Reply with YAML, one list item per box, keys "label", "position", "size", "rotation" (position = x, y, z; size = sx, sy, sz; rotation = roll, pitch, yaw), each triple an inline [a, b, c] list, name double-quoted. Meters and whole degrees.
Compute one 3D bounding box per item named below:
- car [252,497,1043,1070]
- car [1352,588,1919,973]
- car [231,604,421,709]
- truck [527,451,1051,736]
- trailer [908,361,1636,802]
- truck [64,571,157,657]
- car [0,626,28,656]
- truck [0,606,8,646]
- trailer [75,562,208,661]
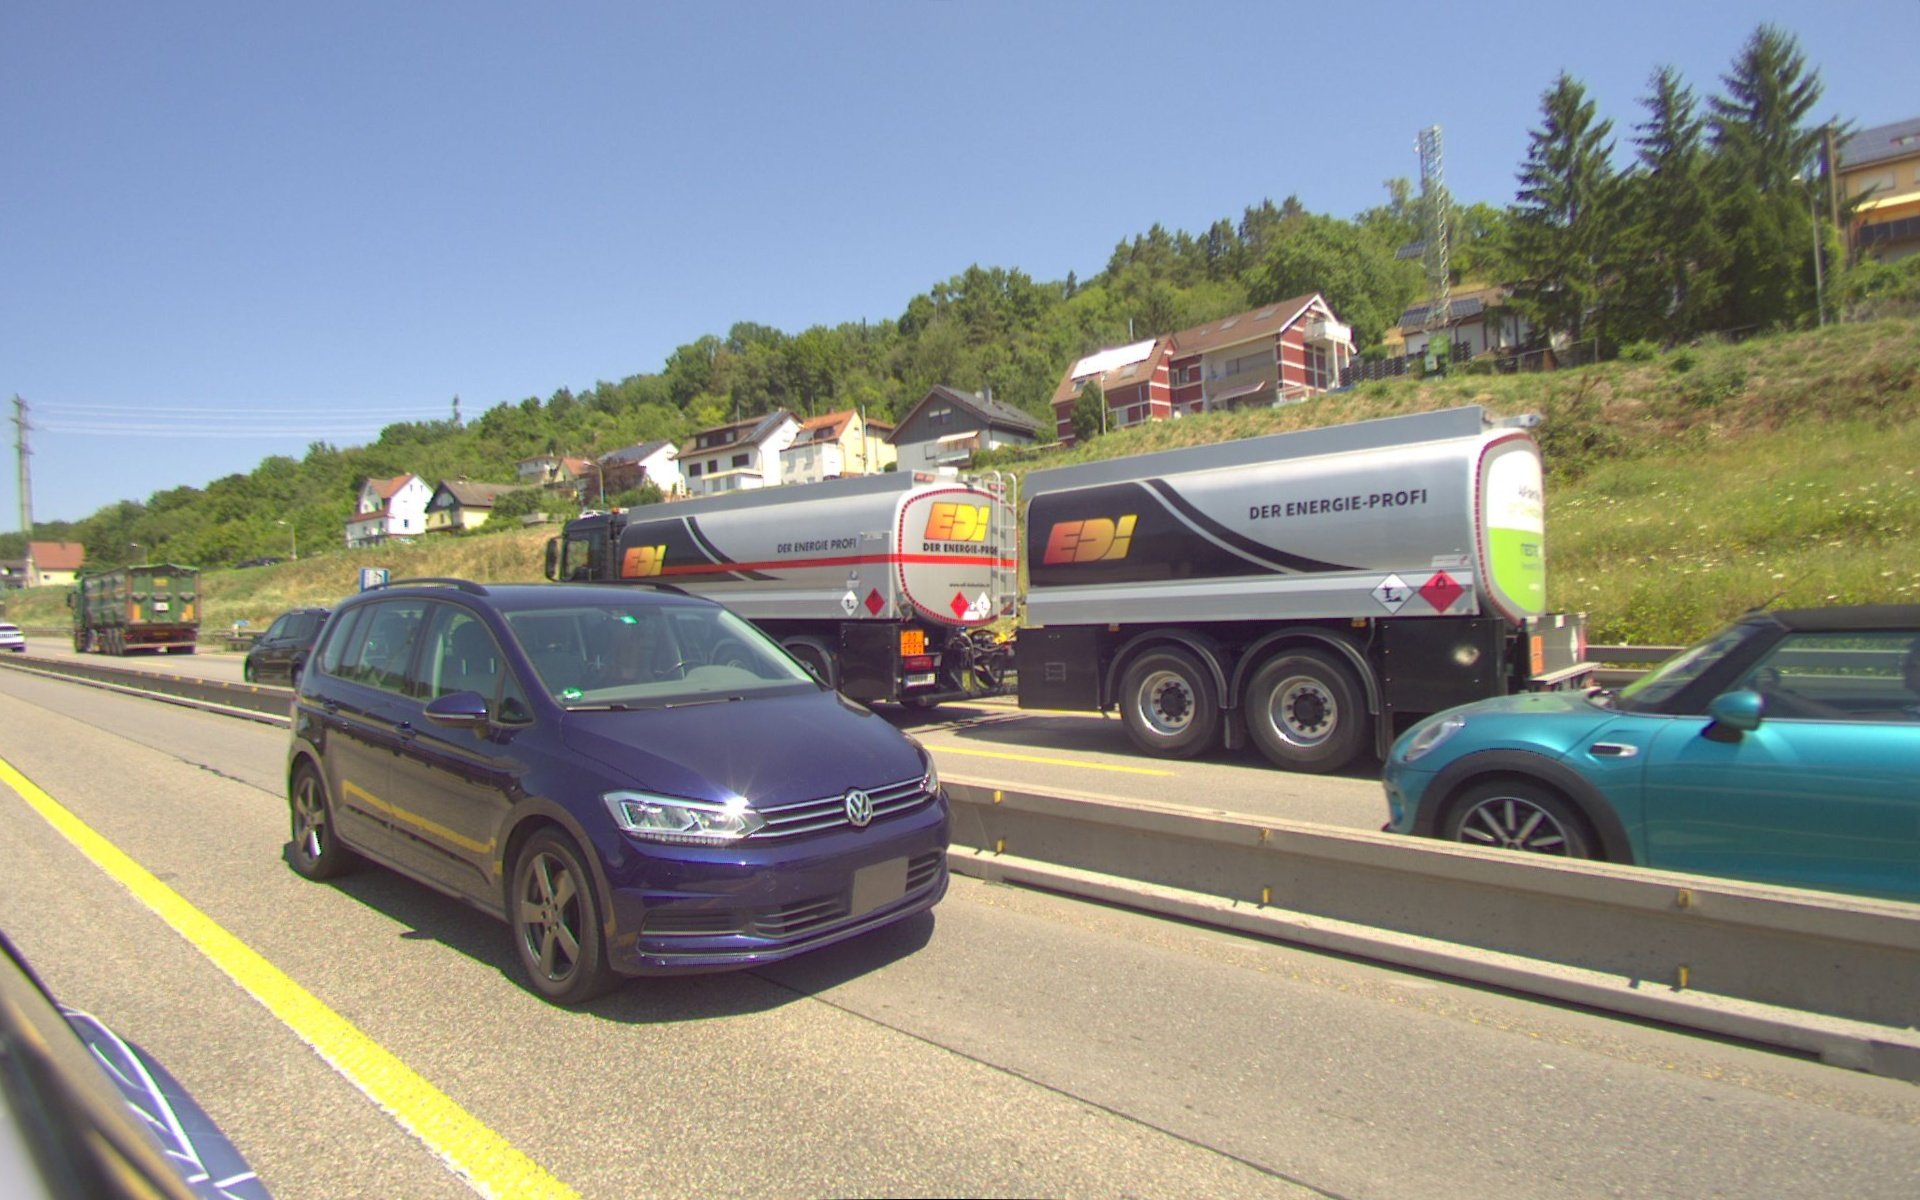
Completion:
- label: "car"
  position: [-1.974, 0.614, 5.274]
  size: [4.650, 1.731, 1.757]
  rotation: [-2, -1, 41]
- label: "car"
  position: [3.967, 0.657, 4.386]
  size: [3.902, 1.405, 1.648]
  rotation: [-2, -1, 41]
- label: "car"
  position: [-11.557, 0.949, 18.323]
  size: [4.497, 1.647, 1.700]
  rotation: [-2, 0, 41]
- label: "truck"
  position: [-3.074, -0.001, 15.204]
  size: [8.955, 3.166, 2.698]
  rotation: [-2, 0, 41]
- label: "trailer"
  position: [2.688, -0.080, 10.033]
  size: [6.367, 3.023, 2.585]
  rotation: [-2, 0, 41]
- label: "truck"
  position: [-41.532, 0.691, 49.462]
  size: [4.176, 3.968, 2.864]
  rotation: [-2, -1, 41]
- label: "car"
  position: [-49.564, 2.119, 52.145]
  size: [4.437, 1.481, 1.755]
  rotation: [-2, -1, 41]
- label: "truck"
  position: [-87.740, 2.359, 90.044]
  size: [15.925, 3.348, 2.734]
  rotation: [-2, -1, 41]
- label: "trailer"
  position: [-36.924, 0.573, 45.449]
  size: [10.521, 3.968, 2.882]
  rotation: [-2, -1, 41]
